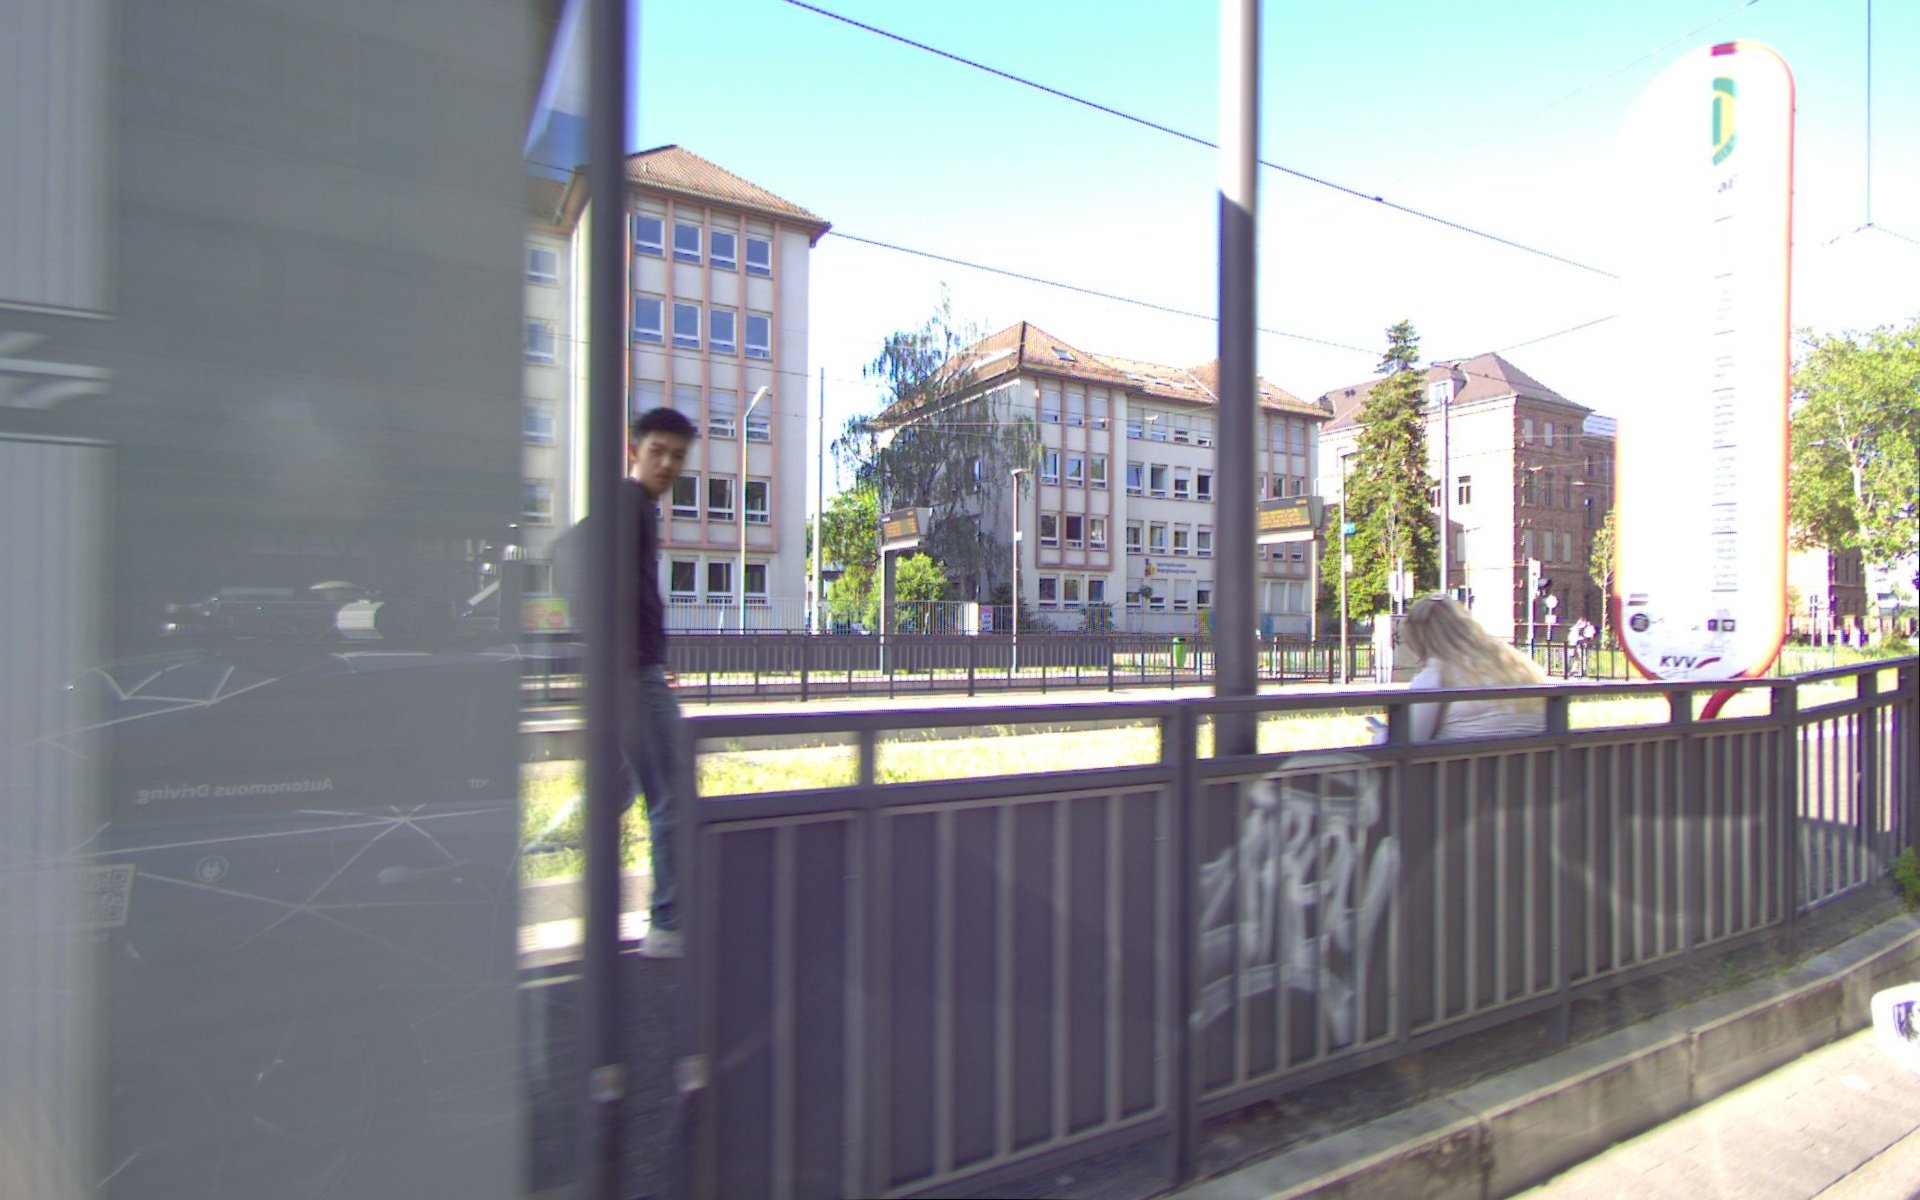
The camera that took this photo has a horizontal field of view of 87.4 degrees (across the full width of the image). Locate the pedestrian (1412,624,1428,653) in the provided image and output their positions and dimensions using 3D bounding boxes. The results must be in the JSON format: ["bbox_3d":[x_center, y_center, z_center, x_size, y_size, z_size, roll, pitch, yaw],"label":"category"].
[{"bbox_3d":[27.500,2.312,60.040,0.672,1.718,0.820,0,-1,41],"label":"pedestrian"}]

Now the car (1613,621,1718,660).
[{"bbox_3d":[30.898,1.758,43.967,4.413,1.644,1.761,1,-1,-24],"label":"car"}]

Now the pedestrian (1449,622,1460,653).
[{"bbox_3d":[28.161,2.133,57.159,0.443,1.718,0.374,1,-1,-23],"label":"pedestrian"}]

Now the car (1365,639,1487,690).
[{"bbox_3d":[17.174,2.346,37.015,4.094,1.729,1.987,1,-1,-26],"label":"car"}]

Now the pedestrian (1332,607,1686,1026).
[{"bbox_3d":[1.840,0.626,3.400,0.803,1.194,0.748,1,0,-31],"label":"pedestrian"}]

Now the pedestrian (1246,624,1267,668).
[{"bbox_3d":[12.690,1.957,43.031,0.566,1.861,0.689,1,-1,-30],"label":"pedestrian"}]

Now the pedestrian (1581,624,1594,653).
[{"bbox_3d":[38.440,2.356,61.535,0.670,1.718,0.882,0,-1,32],"label":"pedestrian"}]

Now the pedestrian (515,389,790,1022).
[{"bbox_3d":[-1.042,0.308,3.354,0.745,1.807,0.679,1,0,-29],"label":"pedestrian"}]

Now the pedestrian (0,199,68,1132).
[{"bbox_3d":[-2.450,0.152,2.105,0.707,2.040,0.665,1,0,-29],"label":"pedestrian"}]

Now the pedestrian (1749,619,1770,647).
[{"bbox_3d":[56.184,2.324,70.587,0.930,1.924,0.897,1,-1,-29],"label":"pedestrian"}]

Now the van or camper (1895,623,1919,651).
[{"bbox_3d":[65.668,2.513,68.322,4.383,1.811,1.983,1,-2,-32],"label":"van or camper"}]

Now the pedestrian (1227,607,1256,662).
[{"bbox_3d":[10.584,1.304,37.799,0.850,2.040,0.659,1,-1,-30],"label":"pedestrian"}]

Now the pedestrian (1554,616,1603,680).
[{"bbox_3d":[17.393,1.322,28.263,0.720,1.759,0.949,0,-1,-27],"label":"pedestrian"}]
